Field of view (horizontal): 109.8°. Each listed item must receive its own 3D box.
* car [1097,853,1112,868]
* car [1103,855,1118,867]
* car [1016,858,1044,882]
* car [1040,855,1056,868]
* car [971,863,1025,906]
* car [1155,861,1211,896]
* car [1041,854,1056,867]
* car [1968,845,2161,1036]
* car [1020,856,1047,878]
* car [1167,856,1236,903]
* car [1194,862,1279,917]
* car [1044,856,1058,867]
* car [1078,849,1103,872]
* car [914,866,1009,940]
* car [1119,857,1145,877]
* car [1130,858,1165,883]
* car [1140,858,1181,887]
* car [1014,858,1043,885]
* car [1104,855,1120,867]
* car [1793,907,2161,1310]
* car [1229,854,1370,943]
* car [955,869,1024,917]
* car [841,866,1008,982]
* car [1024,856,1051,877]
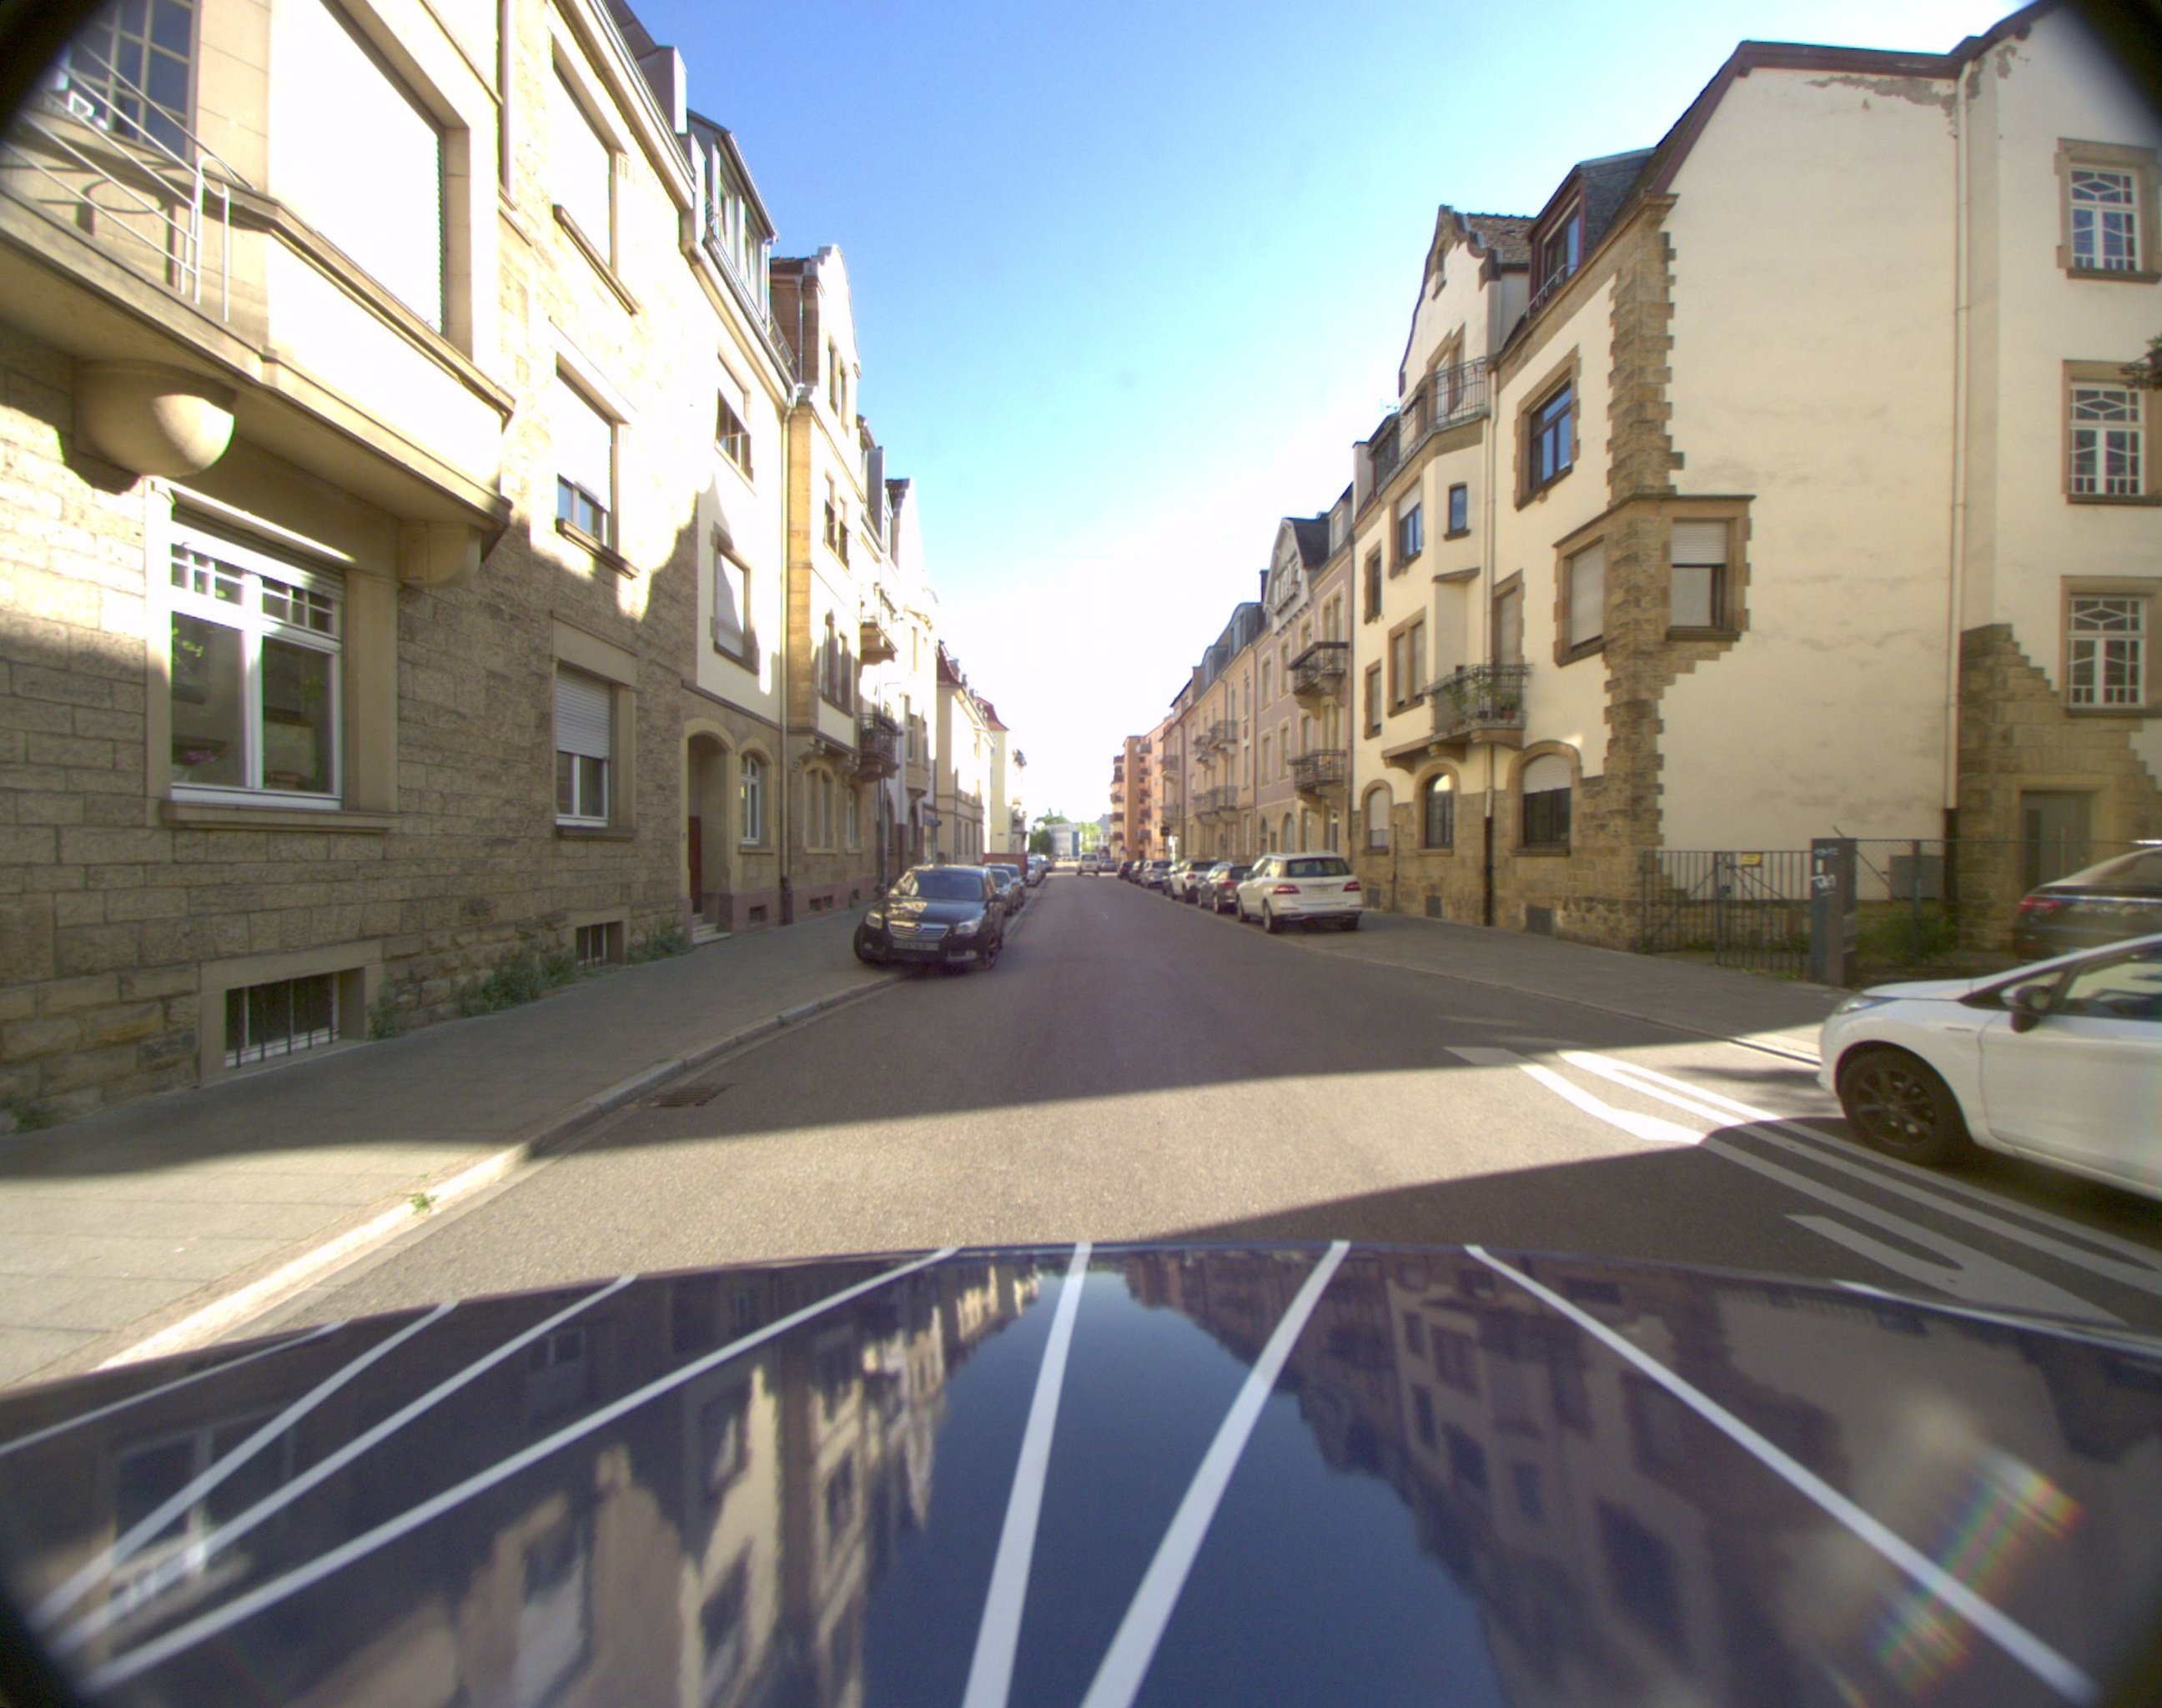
[{"bbox_3d":[3.027,0.798,98.327,1.823,1.866,4.111,1,0,-1],"label":"car"},{"bbox_3d":[3.534,0.794,91.639,1.678,1.414,3.285,0,0,-1],"label":"car"},{"bbox_3d":[-3.306,1.003,49.811,1.657,1.455,4.093,0,0,-2],"label":"car"},{"bbox_3d":[-3.664,0.823,84.681,1.708,1.417,3.721,1,1,-2],"label":"car"},{"bbox_3d":[-2.928,1.040,27.318,1.791,1.421,3.806,0,0,-5],"label":"car"},{"bbox_3d":[4.552,1.072,34.453,1.677,1.385,3.664,-3,0,-6],"label":"car"},{"bbox_3d":[-3.872,0.805,90.143,1.708,1.417,3.721,1,1,-2],"label":"car"},{"bbox_3d":[11.676,0.792,7.350,3.978,1.718,1.909,0,0,-1],"label":"car"},{"bbox_3d":[-3.471,0.898,55.879,1.684,1.537,3.914,1,0,1],"label":"car"},{"bbox_3d":[4.531,0.908,29.071,1.719,1.574,4.019,-3,0,-3],"label":"car"},{"bbox_3d":[4.697,1.018,23.537,1.578,1.478,4.279,-2,0,-2],"label":"car"},{"bbox_3d":[-3.842,0.908,96.493,1.708,1.417,3.721,0,0,-3],"label":"car"},{"bbox_3d":[0.810,0.559,67.184,1.869,1.925,4.598,0,0,-4],"label":"car"},{"bbox_3d":[-2.635,1.027,17.658,1.655,1.434,4.257,1,0,-2],"label":"car"},{"bbox_3d":[3.973,0.993,59.560,1.719,1.378,3.864,-3,0,-1],"label":"car"},{"bbox_3d":[4.265,1.019,49.276,1.719,1.512,4.109,1,0,-2],"label":"car"},{"bbox_3d":[4.430,0.981,42.599,1.719,1.529,3.722,-1,0,-3],"label":"car"},{"bbox_3d":[-3.044,0.985,44.427,1.590,1.455,3.710,0,0,-3],"label":"car"},{"bbox_3d":[3.549,0.825,87.906,1.678,1.414,3.500,0,0,-1],"label":"car"},{"bbox_3d":[5.017,1.048,2.643,1.638,1.455,3.735,0,0,1],"label":"car"},{"bbox_3d":[4.904,0.915,17.815,1.897,1.712,4.726,-3,0,0],"label":"car"},{"bbox_3d":[-2.679,1.122,22.947,1.697,1.247,3.940,0,0,-1],"label":"car"},{"bbox_3d":[-2.265,0.958,12.133,1.870,1.453,4.338,0,0,-2],"label":"car"},{"bbox_3d":[-3.405,0.957,60.313,1.791,1.654,4.434,0,0,1],"label":"car"}]
